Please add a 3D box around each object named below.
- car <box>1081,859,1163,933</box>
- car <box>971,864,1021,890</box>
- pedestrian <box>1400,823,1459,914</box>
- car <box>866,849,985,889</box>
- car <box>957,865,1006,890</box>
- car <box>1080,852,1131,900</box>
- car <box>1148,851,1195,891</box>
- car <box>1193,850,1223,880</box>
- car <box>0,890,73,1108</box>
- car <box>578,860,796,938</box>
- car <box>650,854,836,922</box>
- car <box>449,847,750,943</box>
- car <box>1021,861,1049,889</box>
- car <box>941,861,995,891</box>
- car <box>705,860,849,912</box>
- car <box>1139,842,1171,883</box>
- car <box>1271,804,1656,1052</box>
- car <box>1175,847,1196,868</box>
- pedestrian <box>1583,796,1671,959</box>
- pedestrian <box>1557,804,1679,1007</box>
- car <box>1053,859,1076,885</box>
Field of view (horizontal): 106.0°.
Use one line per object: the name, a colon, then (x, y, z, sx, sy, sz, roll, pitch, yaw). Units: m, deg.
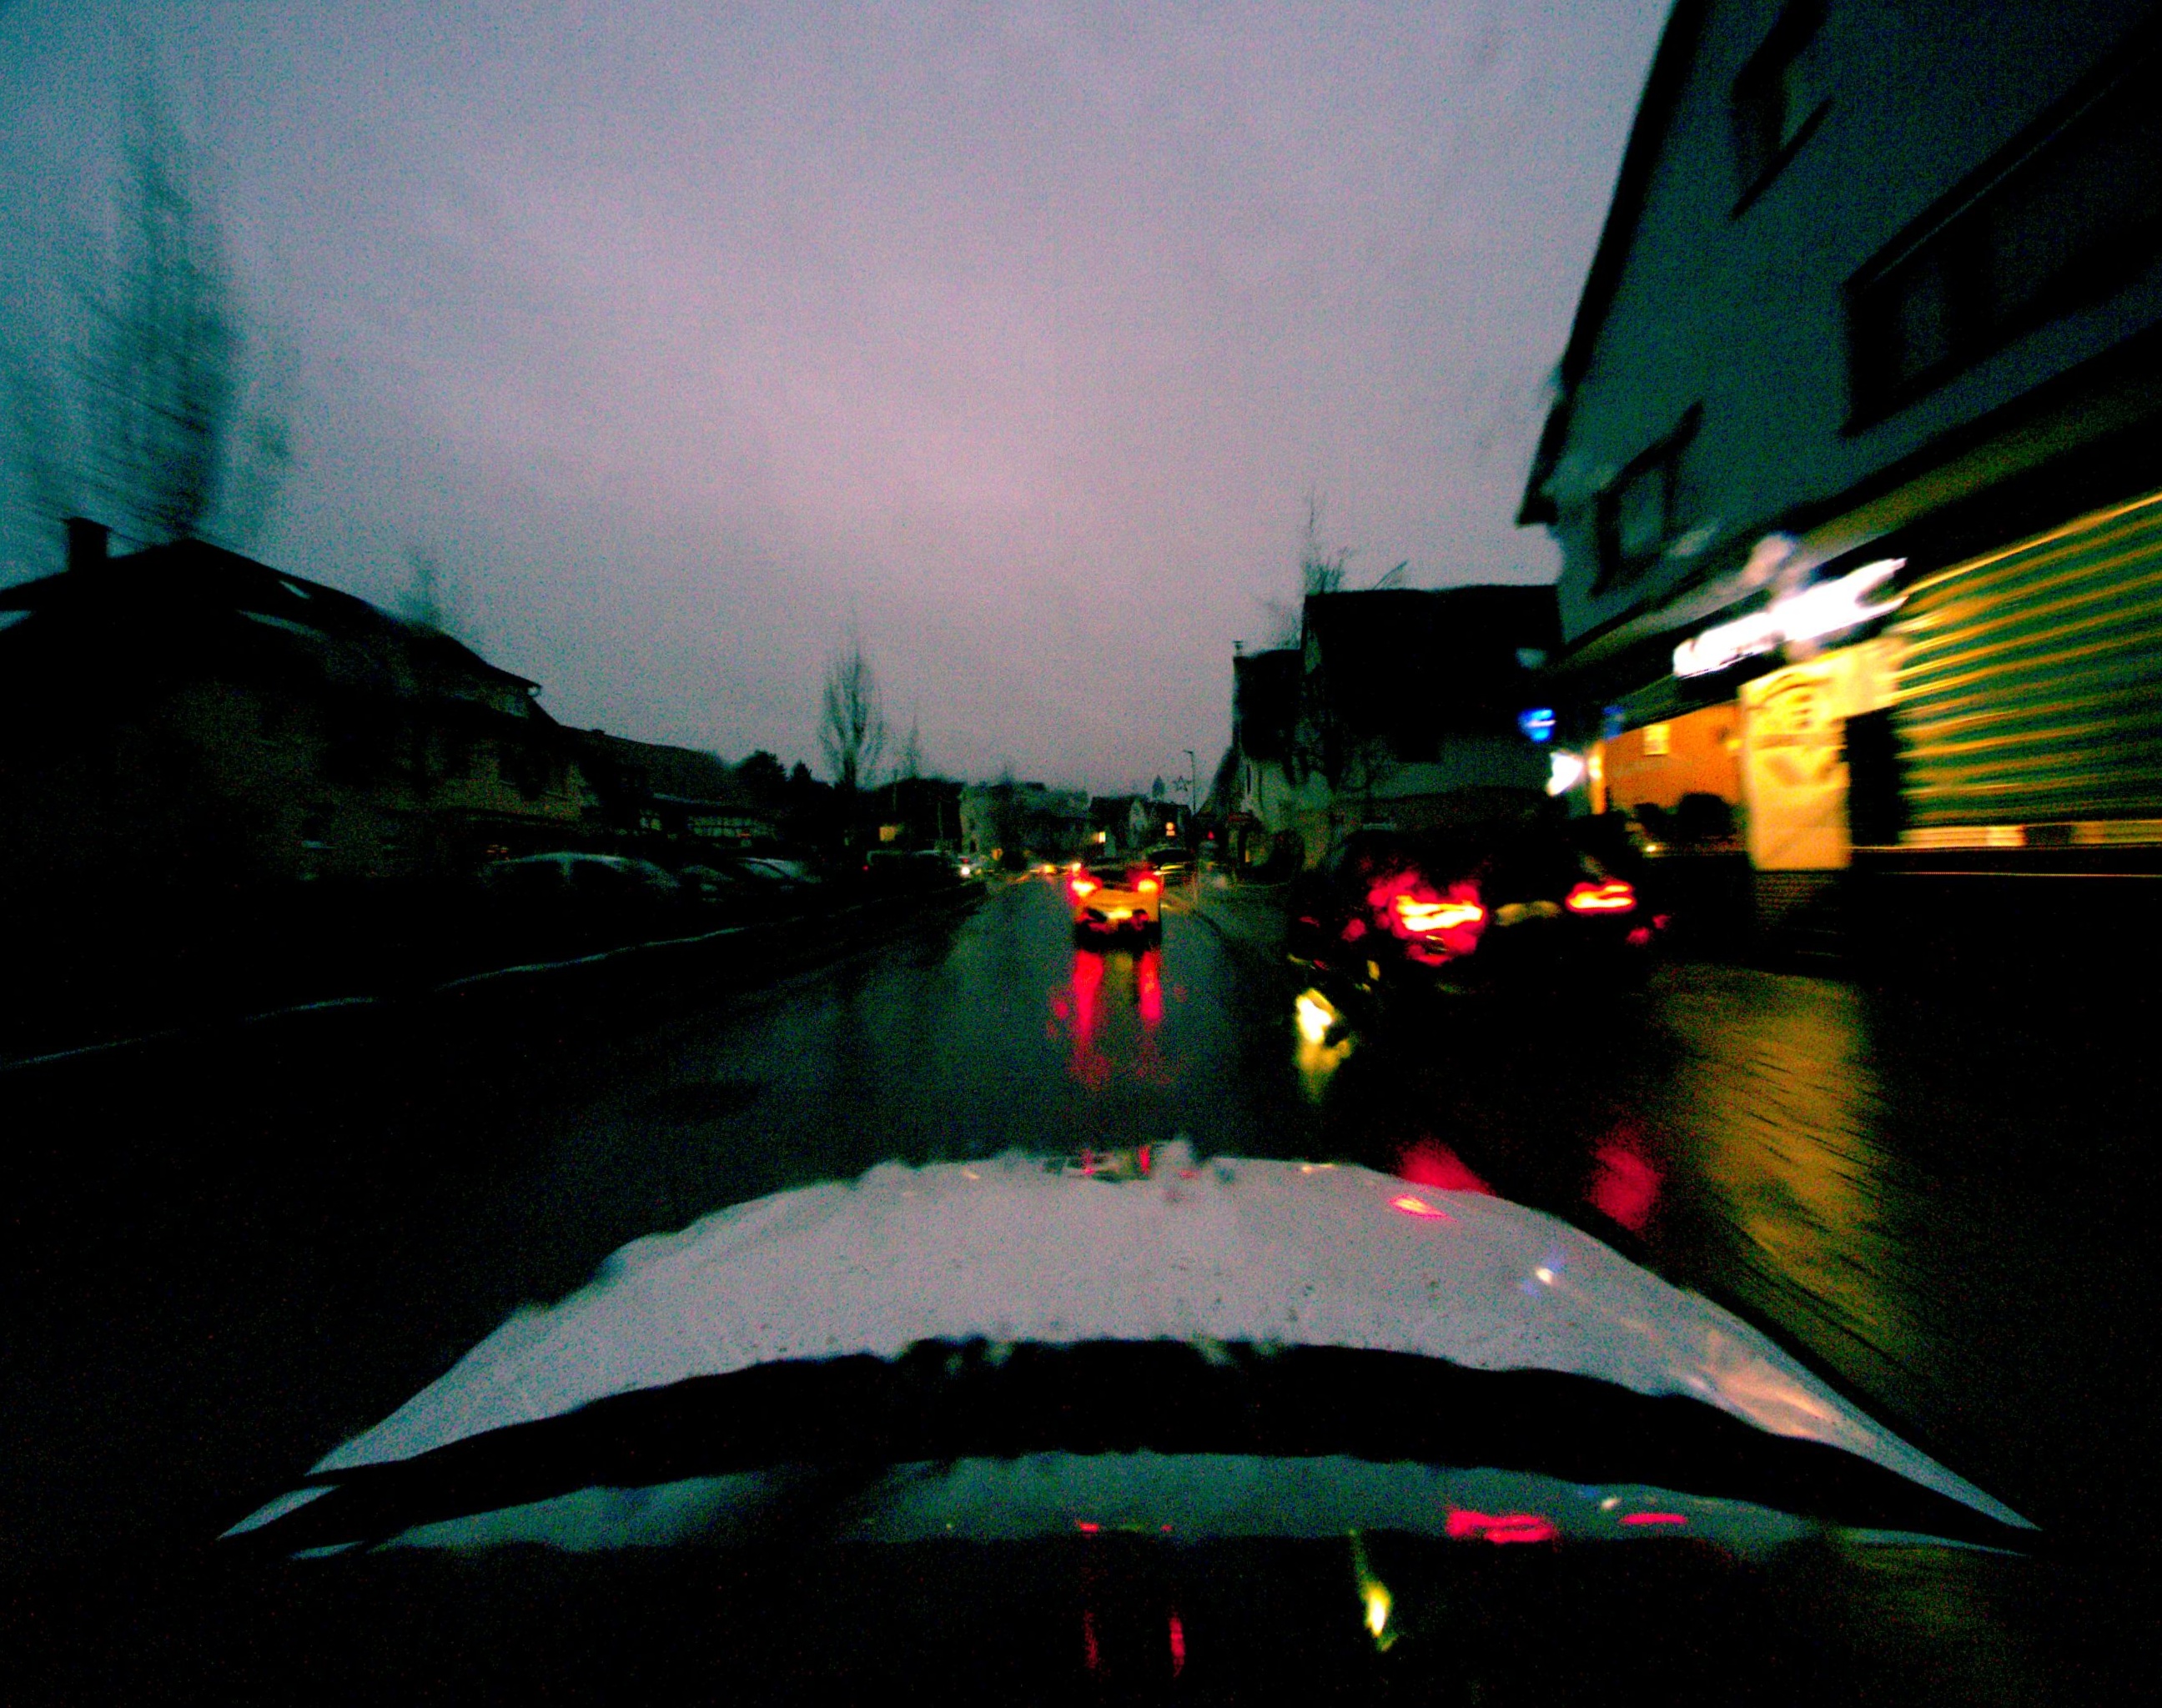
car: (0.837, 0.812, 17.083, 1.557, 1.412, 3.019, 0, 0, 2)
car: (-7.299, 2.018, 69.839, 2.011, 2.167, 4.331, 2, -4, -44)
pedestrian: (6.060, 0.237, 14.174, 0.618, 1.515, 0.731, -1, 1, -12)
car: (-7.498, 0.689, 39.285, 5.356, 1.818, 1.719, 0, -1, 15)
car: (-8.216, 1.944, 66.960, 1.833, 1.976, 4.117, 2, -4, -44)
car: (0.950, 0.765, 29.789, 1.759, 1.628, 3.589, 0, 0, 4)
car: (4.396, 0.826, 39.962, 1.990, 1.865, 4.085, -1, -1, 2)
car: (10.017, 0.891, 64.652, 1.985, 2.249, 4.003, 0, -3, 3)
car: (-9.518, 0.981, 5.131, 4.109, 1.498, 1.881, 0, -3, 4)
car: (-8.913, 0.999, 18.584, 4.177, 1.652, 1.682, -1, -1, 6)
car: (-8.771, 0.871, 21.280, 4.146, 1.644, 1.661, -1, -1, 6)
car: (-9.169, 0.761, 15.828, 4.611, 1.667, 1.999, -1, -1, -1)
car: (-3.511, 1.637, 62.693, 1.913, 2.028, 3.974, 0, -3, 0)
car: (-8.810, 1.756, 63.467, 2.011, 2.252, 4.331, 2, -4, -44)
car: (-8.792, 0.907, 23.725, 3.527, 1.447, 1.712, 0, -1, 6)
car: (4.722, 0.608, 52.338, 1.862, 2.469, 4.446, 0, -3, 3)
car: (3.217, 0.543, 7.961, 1.729, 1.692, 4.387, -2, -1, 1)
car: (9.803, 0.357, 76.223, 1.859, 1.835, 4.453, -1, -3, 9)
pedestrian: (5.972, 0.255, 8.935, 0.614, 1.727, 0.503, -1, -3, 13)
pedestrian: (4.776, 0.446, 7.283, 0.571, 1.699, 0.653, -3, -1, 3)
car: (-1.396, 1.614, 70.806, 1.913, 2.216, 3.974, 0, -3, 0)
